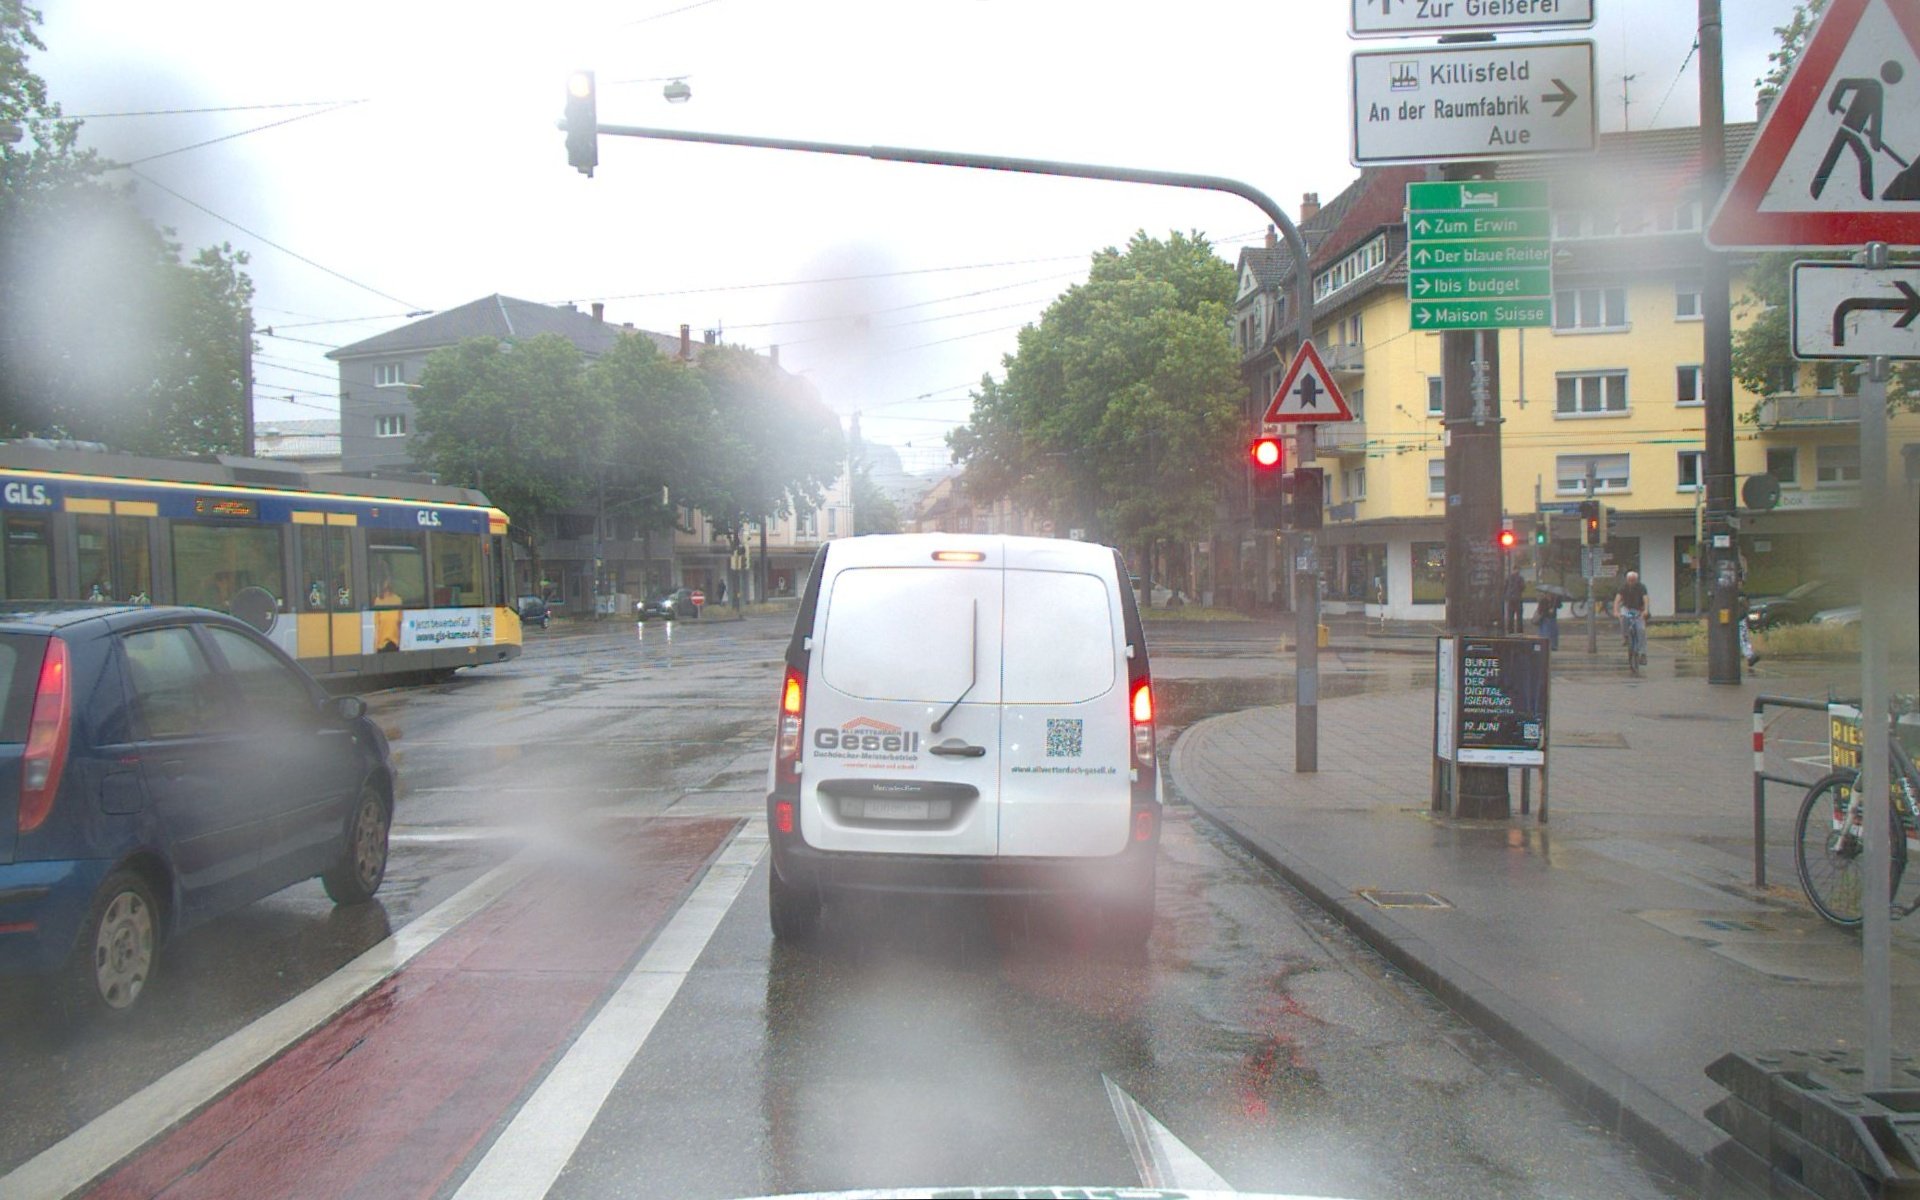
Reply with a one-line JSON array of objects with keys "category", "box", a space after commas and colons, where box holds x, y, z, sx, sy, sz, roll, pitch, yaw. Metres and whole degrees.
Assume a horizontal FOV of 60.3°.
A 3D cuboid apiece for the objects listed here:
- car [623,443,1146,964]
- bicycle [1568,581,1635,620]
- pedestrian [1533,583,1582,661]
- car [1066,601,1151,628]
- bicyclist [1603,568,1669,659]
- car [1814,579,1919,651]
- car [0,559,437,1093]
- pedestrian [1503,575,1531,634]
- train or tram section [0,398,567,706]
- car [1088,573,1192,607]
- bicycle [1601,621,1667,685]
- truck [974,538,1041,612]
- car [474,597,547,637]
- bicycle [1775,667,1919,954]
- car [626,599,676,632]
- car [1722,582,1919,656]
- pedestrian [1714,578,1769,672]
[{"category": "car", "box": [-0.330, 0.411, 9.011, 2.058, 2.047, 4.962, 0, 0, -1]}, {"category": "bicycle", "box": [21.551, 0.009, 55.595, 2.056, 1.283, 0.532, 0, 1, 14]}, {"category": "pedestrian", "box": [12.144, 0.434, 33.636, 0.809, 1.561, 0.614, 1, 0, -39]}, {"category": "car", "box": [6.313, 0.618, 70.587, 3.378, 1.150, 1.469, 0, 0, -9]}, {"category": "bicyclist", "box": [12.186, 0.240, 29.844, 0.860, 1.611, 0.860, 0, 0, 2]}, {"category": "car", "box": [20.918, 0.315, 35.988, 3.854, 1.516, 1.808, 0, 1, 15]}, {"category": "car", "box": [-3.608, 0.673, 6.876, 1.692, 1.606, 3.820, 0, 0, -1]}, {"category": "pedestrian", "box": [14.696, 0.112, 43.645, 0.607, 1.526, 0.553, 0, 0, 10]}, {"category": "train or tram section", "box": [-11.118, -0.551, 24.379, 3.465, 3.472, 15.516, 1, 0, 14]}, {"category": "car", "box": [7.509, -0.419, 69.057, 4.088, 1.362, 1.518, 0, 1, -8]}, {"category": "bicycle", "box": [12.168, 0.944, 29.919, 0.449, 1.045, 1.902, 0, 1, 1]}, {"category": "truck", "box": [3.376, -1.778, 123.388, 3.401, 5.176, 15.293, 0, 0, -4]}, {"category": "car", "box": [-18.219, 0.675, 67.230, 1.953, 1.480, 3.999, -1, 1, -1]}, {"category": "bicycle", "box": [4.253, 0.912, 7.085, 0.503, 1.126, 2.017, 3, 0, 1]}, {"category": "car", "box": [-15.290, 0.729, 81.930, 1.747, 1.579, 3.999, 0, 0, -1]}, {"category": "car", "box": [20.859, 0.466, 39.078, 4.832, 1.672, 2.001, 0, -2, 11]}, {"category": "pedestrian", "box": [14.443, 0.457, 30.592, 0.886, 1.698, 1.019, 0, 0, 25]}]
